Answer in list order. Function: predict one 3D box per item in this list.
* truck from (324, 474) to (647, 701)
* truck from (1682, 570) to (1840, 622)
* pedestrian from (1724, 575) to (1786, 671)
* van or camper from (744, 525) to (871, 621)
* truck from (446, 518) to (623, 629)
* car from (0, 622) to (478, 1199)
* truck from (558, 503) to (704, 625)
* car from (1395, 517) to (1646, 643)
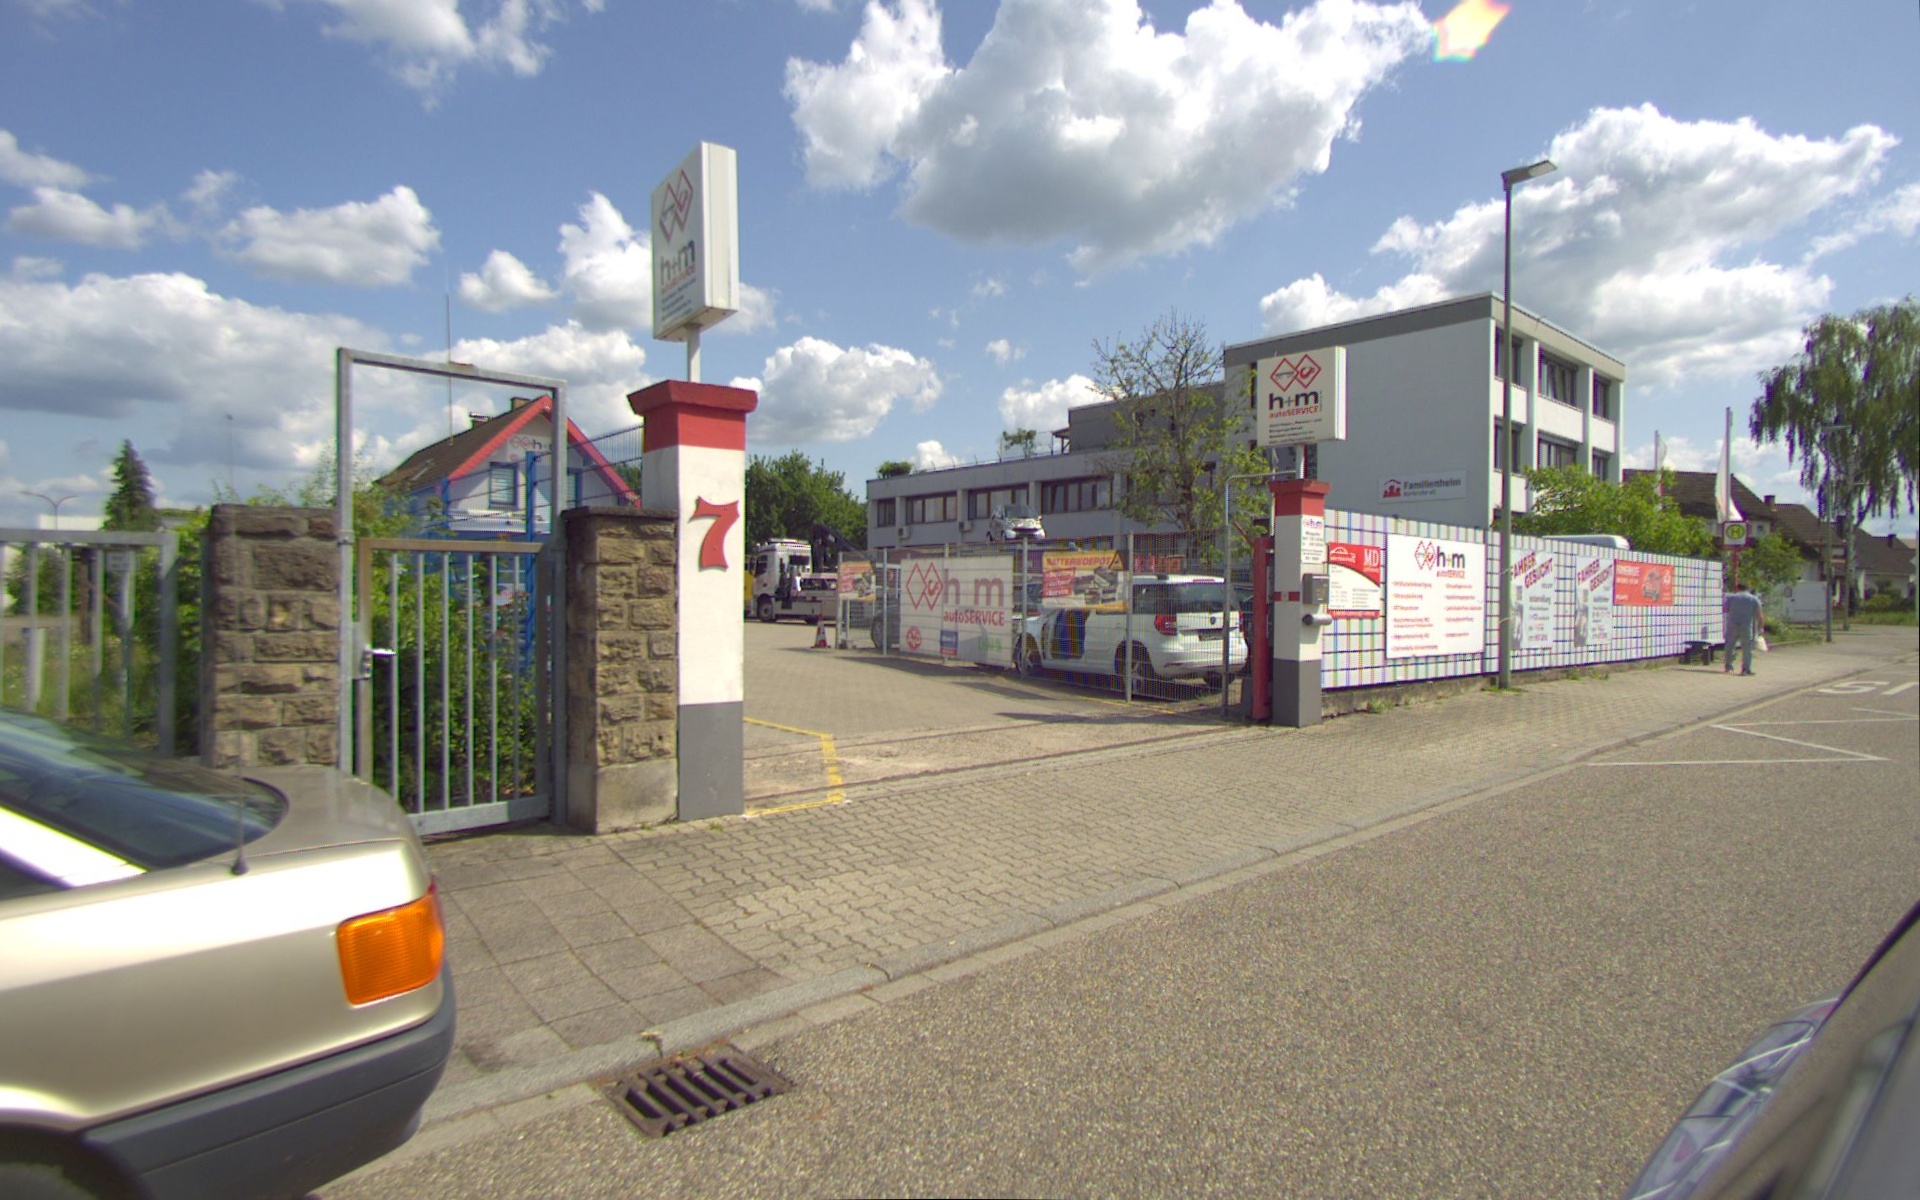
[{"bbox_3d":[-7.312,-0.185,14.963,2.532,2.557,7.089,0,1,-41],"label":"truck"},{"bbox_3d":[41.807,-0.177,53.054,5.991,2.610,2.546,0,0,24],"label":"truck"},{"bbox_3d":[14.972,0.419,19.055,0.514,1.717,0.716,0,6,-45],"label":"pedestrian"},{"bbox_3d":[-5.721,-0.965,37.481,2.106,3.270,5.431,0,0,-41],"label":"van or camper"},{"bbox_3d":[-12.810,-0.734,30.088,2.767,2.882,7.265,0,1,-41],"label":"truck"},{"bbox_3d":[-3.203,0.779,1.371,4.345,1.404,1.654,0,-1,-41],"label":"car"},{"bbox_3d":[-10.801,-1.096,32.786,2.106,3.573,6.705,0,0,-41],"label":"truck"},{"bbox_3d":[13.227,-0.458,24.069,4.904,2.685,2.042,1,0,42],"label":"car"}]
